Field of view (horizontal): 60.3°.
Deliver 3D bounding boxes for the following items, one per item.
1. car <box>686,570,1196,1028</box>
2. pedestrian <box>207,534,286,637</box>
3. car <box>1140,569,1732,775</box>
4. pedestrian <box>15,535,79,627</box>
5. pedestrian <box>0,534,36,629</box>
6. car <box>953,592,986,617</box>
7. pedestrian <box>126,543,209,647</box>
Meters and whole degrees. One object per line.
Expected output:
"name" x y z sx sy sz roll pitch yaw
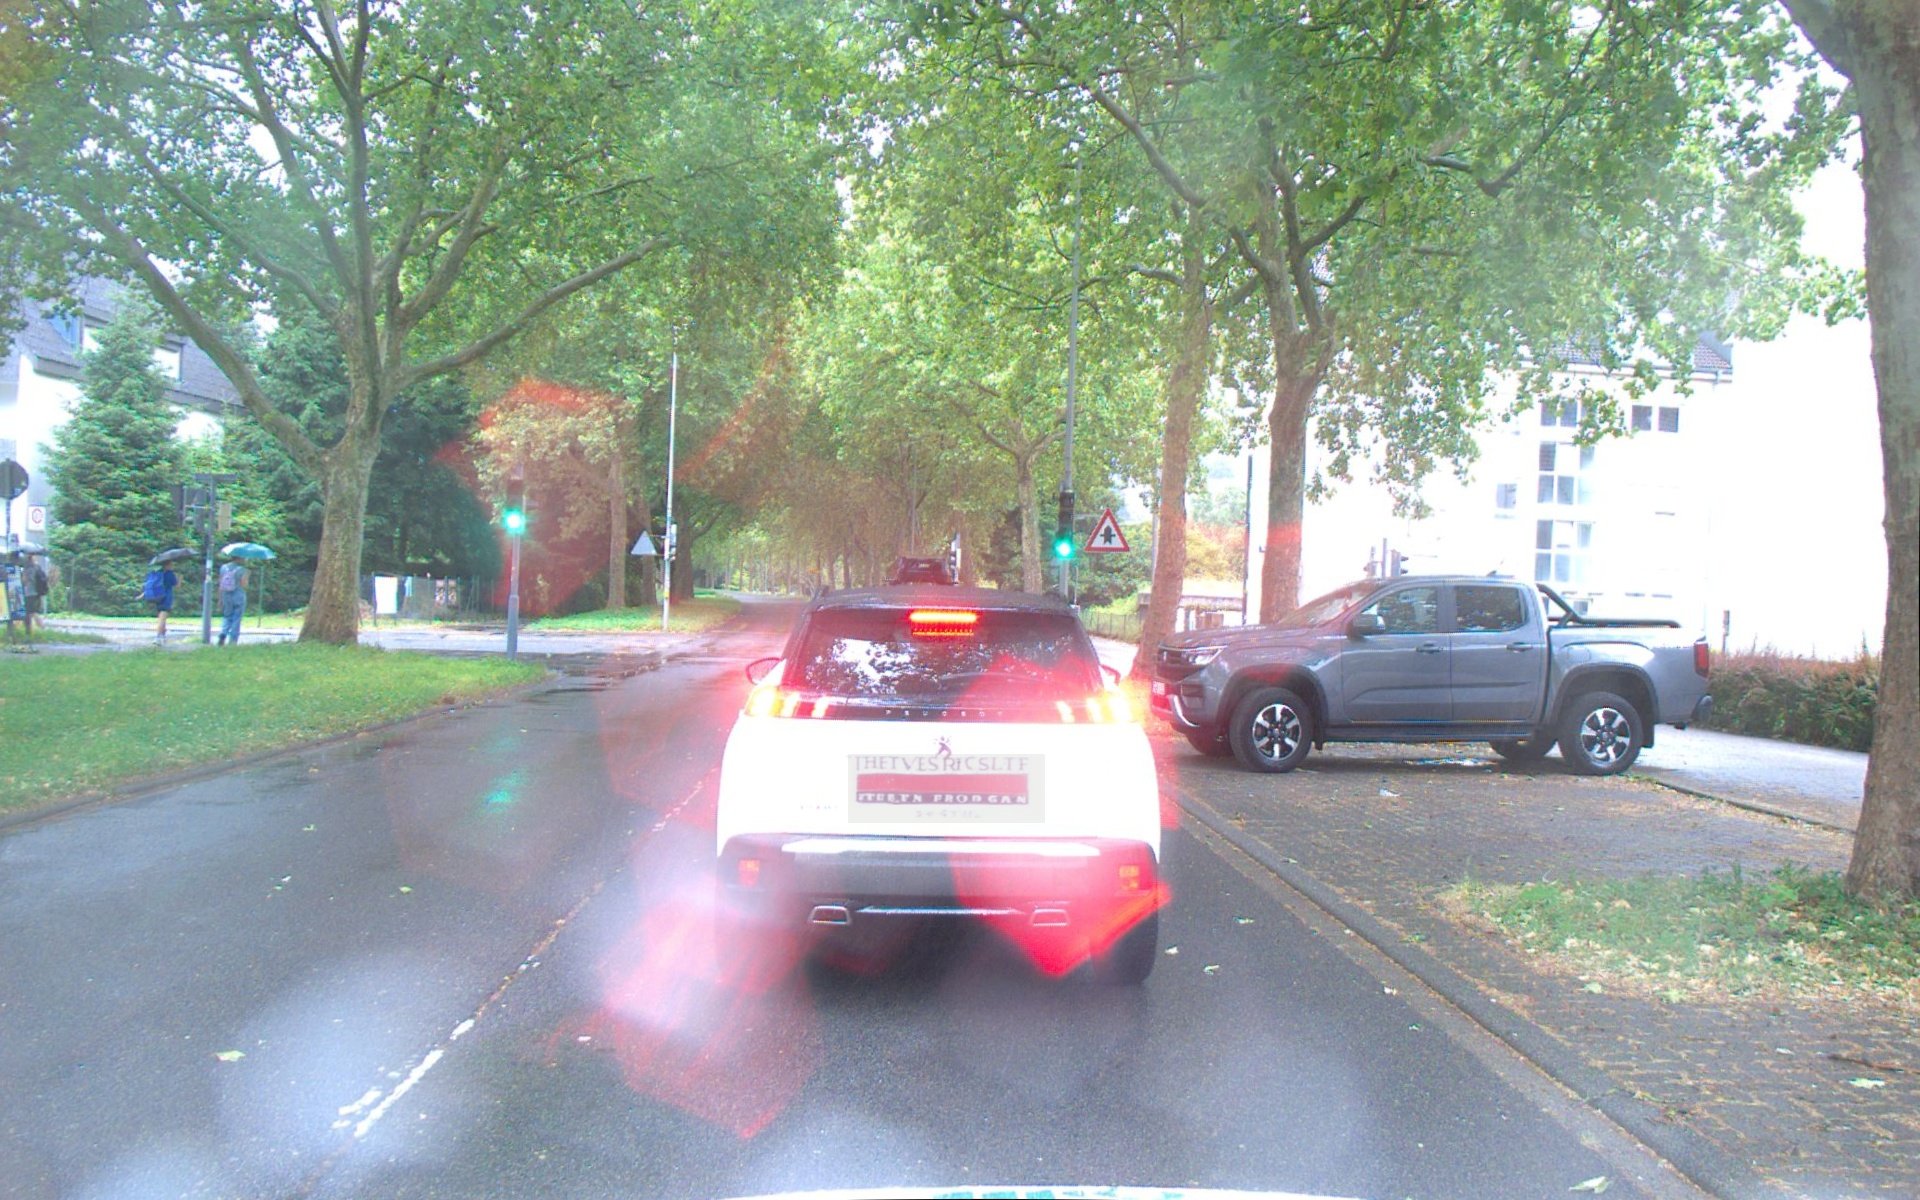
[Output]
"car" -0.104 0.682 7.792 1.744 1.563 4.056 1 0 -1
"pedestrian" -12.689 -0.258 29.442 1.012 1.796 0.838 1 0 -1
"car" 4.511 0.633 16.014 5.238 1.838 1.842 0 0 -8
"pedestrian" -17.987 -0.373 32.588 0.842 1.775 0.639 2 0 -4
"pedestrian" -18.144 -0.362 31.398 0.804 1.775 0.639 2 0 -4
"car" 0.640 0.293 111.714 1.868 1.536 3.927 2 0 -5
"pedestrian" -14.049 -0.096 29.334 1.012 1.796 0.879 1 0 -1
